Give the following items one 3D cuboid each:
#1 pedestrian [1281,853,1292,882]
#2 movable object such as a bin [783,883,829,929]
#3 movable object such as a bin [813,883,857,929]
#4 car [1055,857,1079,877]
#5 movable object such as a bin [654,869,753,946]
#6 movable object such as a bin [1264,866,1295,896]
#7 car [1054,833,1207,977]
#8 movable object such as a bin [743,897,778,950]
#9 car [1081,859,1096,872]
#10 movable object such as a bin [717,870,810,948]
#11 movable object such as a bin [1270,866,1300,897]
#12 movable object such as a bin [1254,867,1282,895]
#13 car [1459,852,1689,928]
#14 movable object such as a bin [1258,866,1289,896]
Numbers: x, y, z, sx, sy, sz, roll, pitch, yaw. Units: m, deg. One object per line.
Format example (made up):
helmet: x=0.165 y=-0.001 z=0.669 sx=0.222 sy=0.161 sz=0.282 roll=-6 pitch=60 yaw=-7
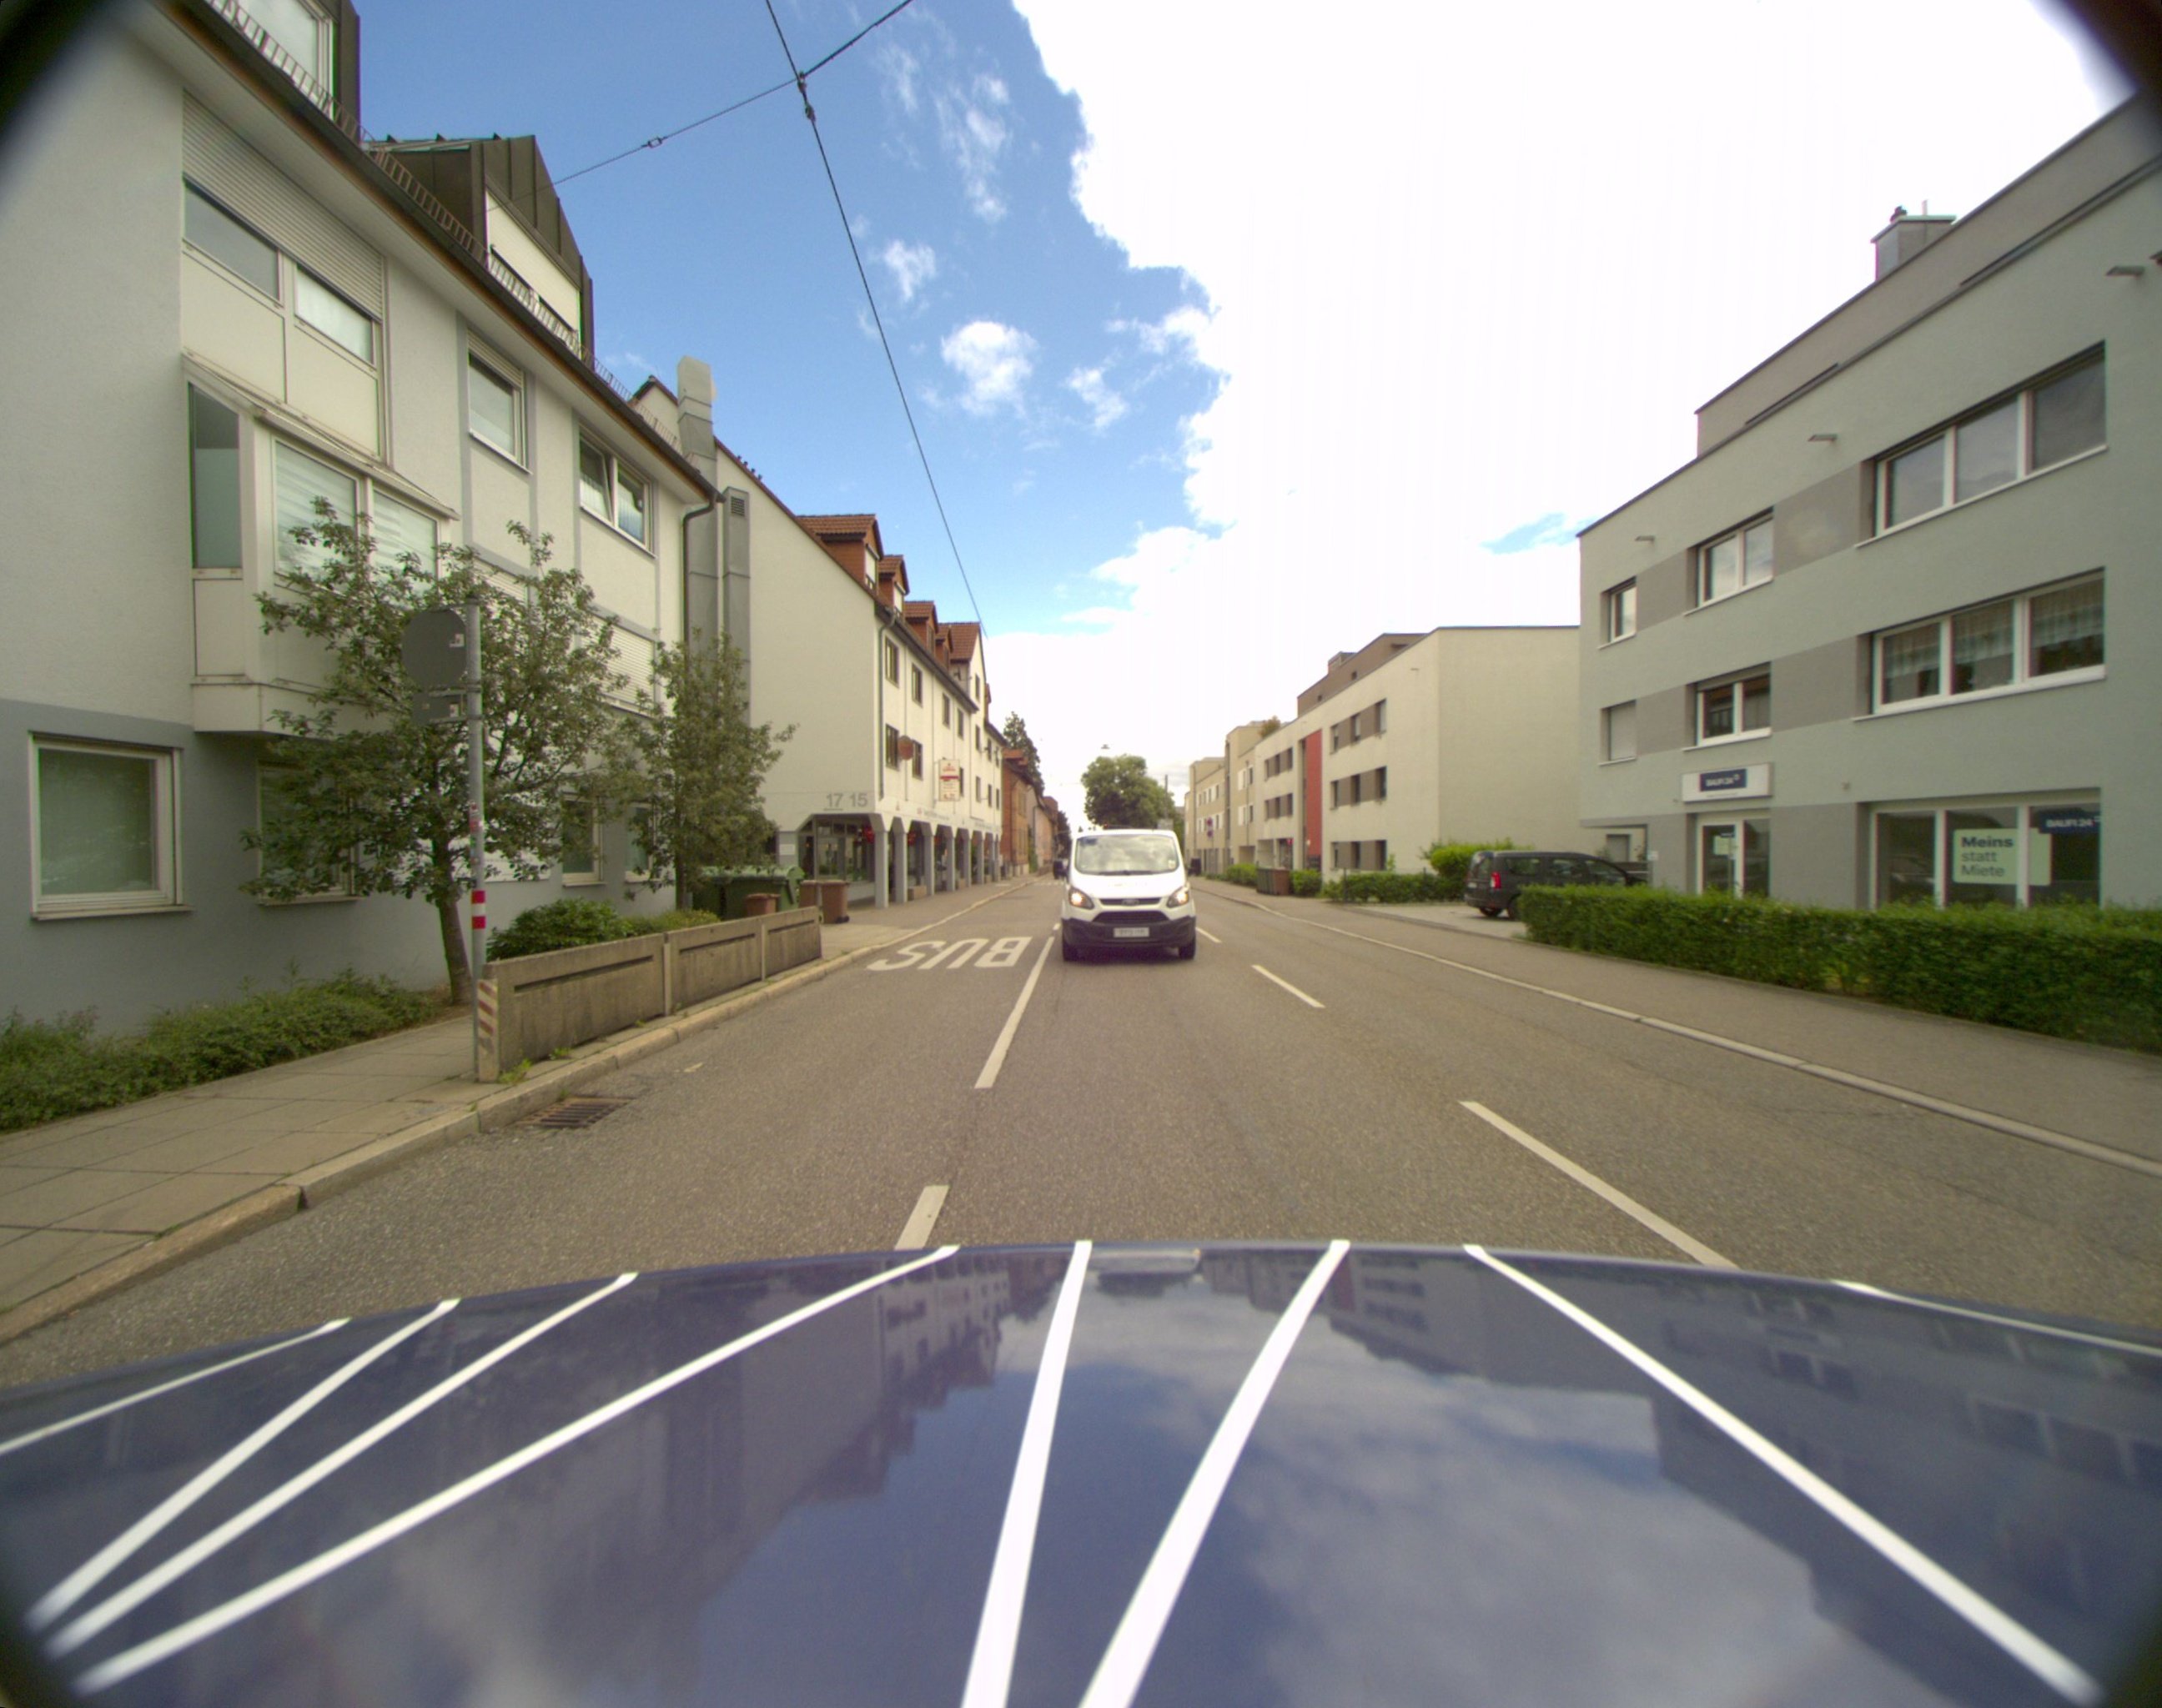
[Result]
pedestrian: x=11.717 y=0.770 z=43.393 sx=0.519 sy=1.633 sz=0.641 roll=0 pitch=1 yaw=22
movable object such as a bin: x=-6.727 y=1.259 z=18.612 sx=0.699 sy=1.073 sz=0.972 roll=-1 pitch=0 yaw=5
movable object such as a bin: x=-5.996 y=1.259 z=18.573 sx=0.685 sy=1.061 sz=0.972 roll=-1 pitch=0 yaw=5
car: x=-1.018 y=1.001 z=58.771 sx=1.755 sy=1.485 sz=3.986 roll=0 pitch=0 yaw=0
movable object such as a bin: x=-7.438 y=1.037 z=15.066 sx=1.270 sy=1.426 sz=1.307 roll=-1 pitch=0 yaw=1
movable object such as a bin: x=7.630 y=1.033 z=29.189 sx=0.951 sy=1.144 sz=0.749 roll=-1 pitch=0 yaw=-4
car: x=0.683 y=0.688 z=12.820 sx=2.062 sy=1.945 sz=5.060 roll=0 pitch=0 yaw=0
movable object such as a bin: x=-5.832 y=1.264 z=13.833 sx=0.431 sy=0.915 sz=0.465 roll=-1 pitch=1 yaw=1
car: x=0.897 y=1.415 z=94.275 sx=1.755 sy=1.485 sz=3.986 roll=0 pitch=0 yaw=0
movable object such as a bin: x=-6.088 y=1.037 z=14.649 sx=1.270 sy=1.409 sz=1.162 roll=-1 pitch=0 yaw=1
movable object such as a bin: x=7.636 y=1.022 z=28.470 sx=0.943 sy=1.144 sz=0.612 roll=-1 pitch=1 yaw=-4
movable object such as a bin: x=7.586 y=1.080 z=30.878 sx=0.897 sy=1.082 sz=0.792 roll=-1 pitch=0 yaw=-4
car: x=11.305 y=0.789 z=17.673 sx=4.172 sy=1.658 sz=1.725 roll=0 pitch=1 yaw=4
movable object such as a bin: x=7.589 y=1.040 z=29.997 sx=0.959 sy=1.144 sz=0.840 roll=-1 pitch=0 yaw=-4
